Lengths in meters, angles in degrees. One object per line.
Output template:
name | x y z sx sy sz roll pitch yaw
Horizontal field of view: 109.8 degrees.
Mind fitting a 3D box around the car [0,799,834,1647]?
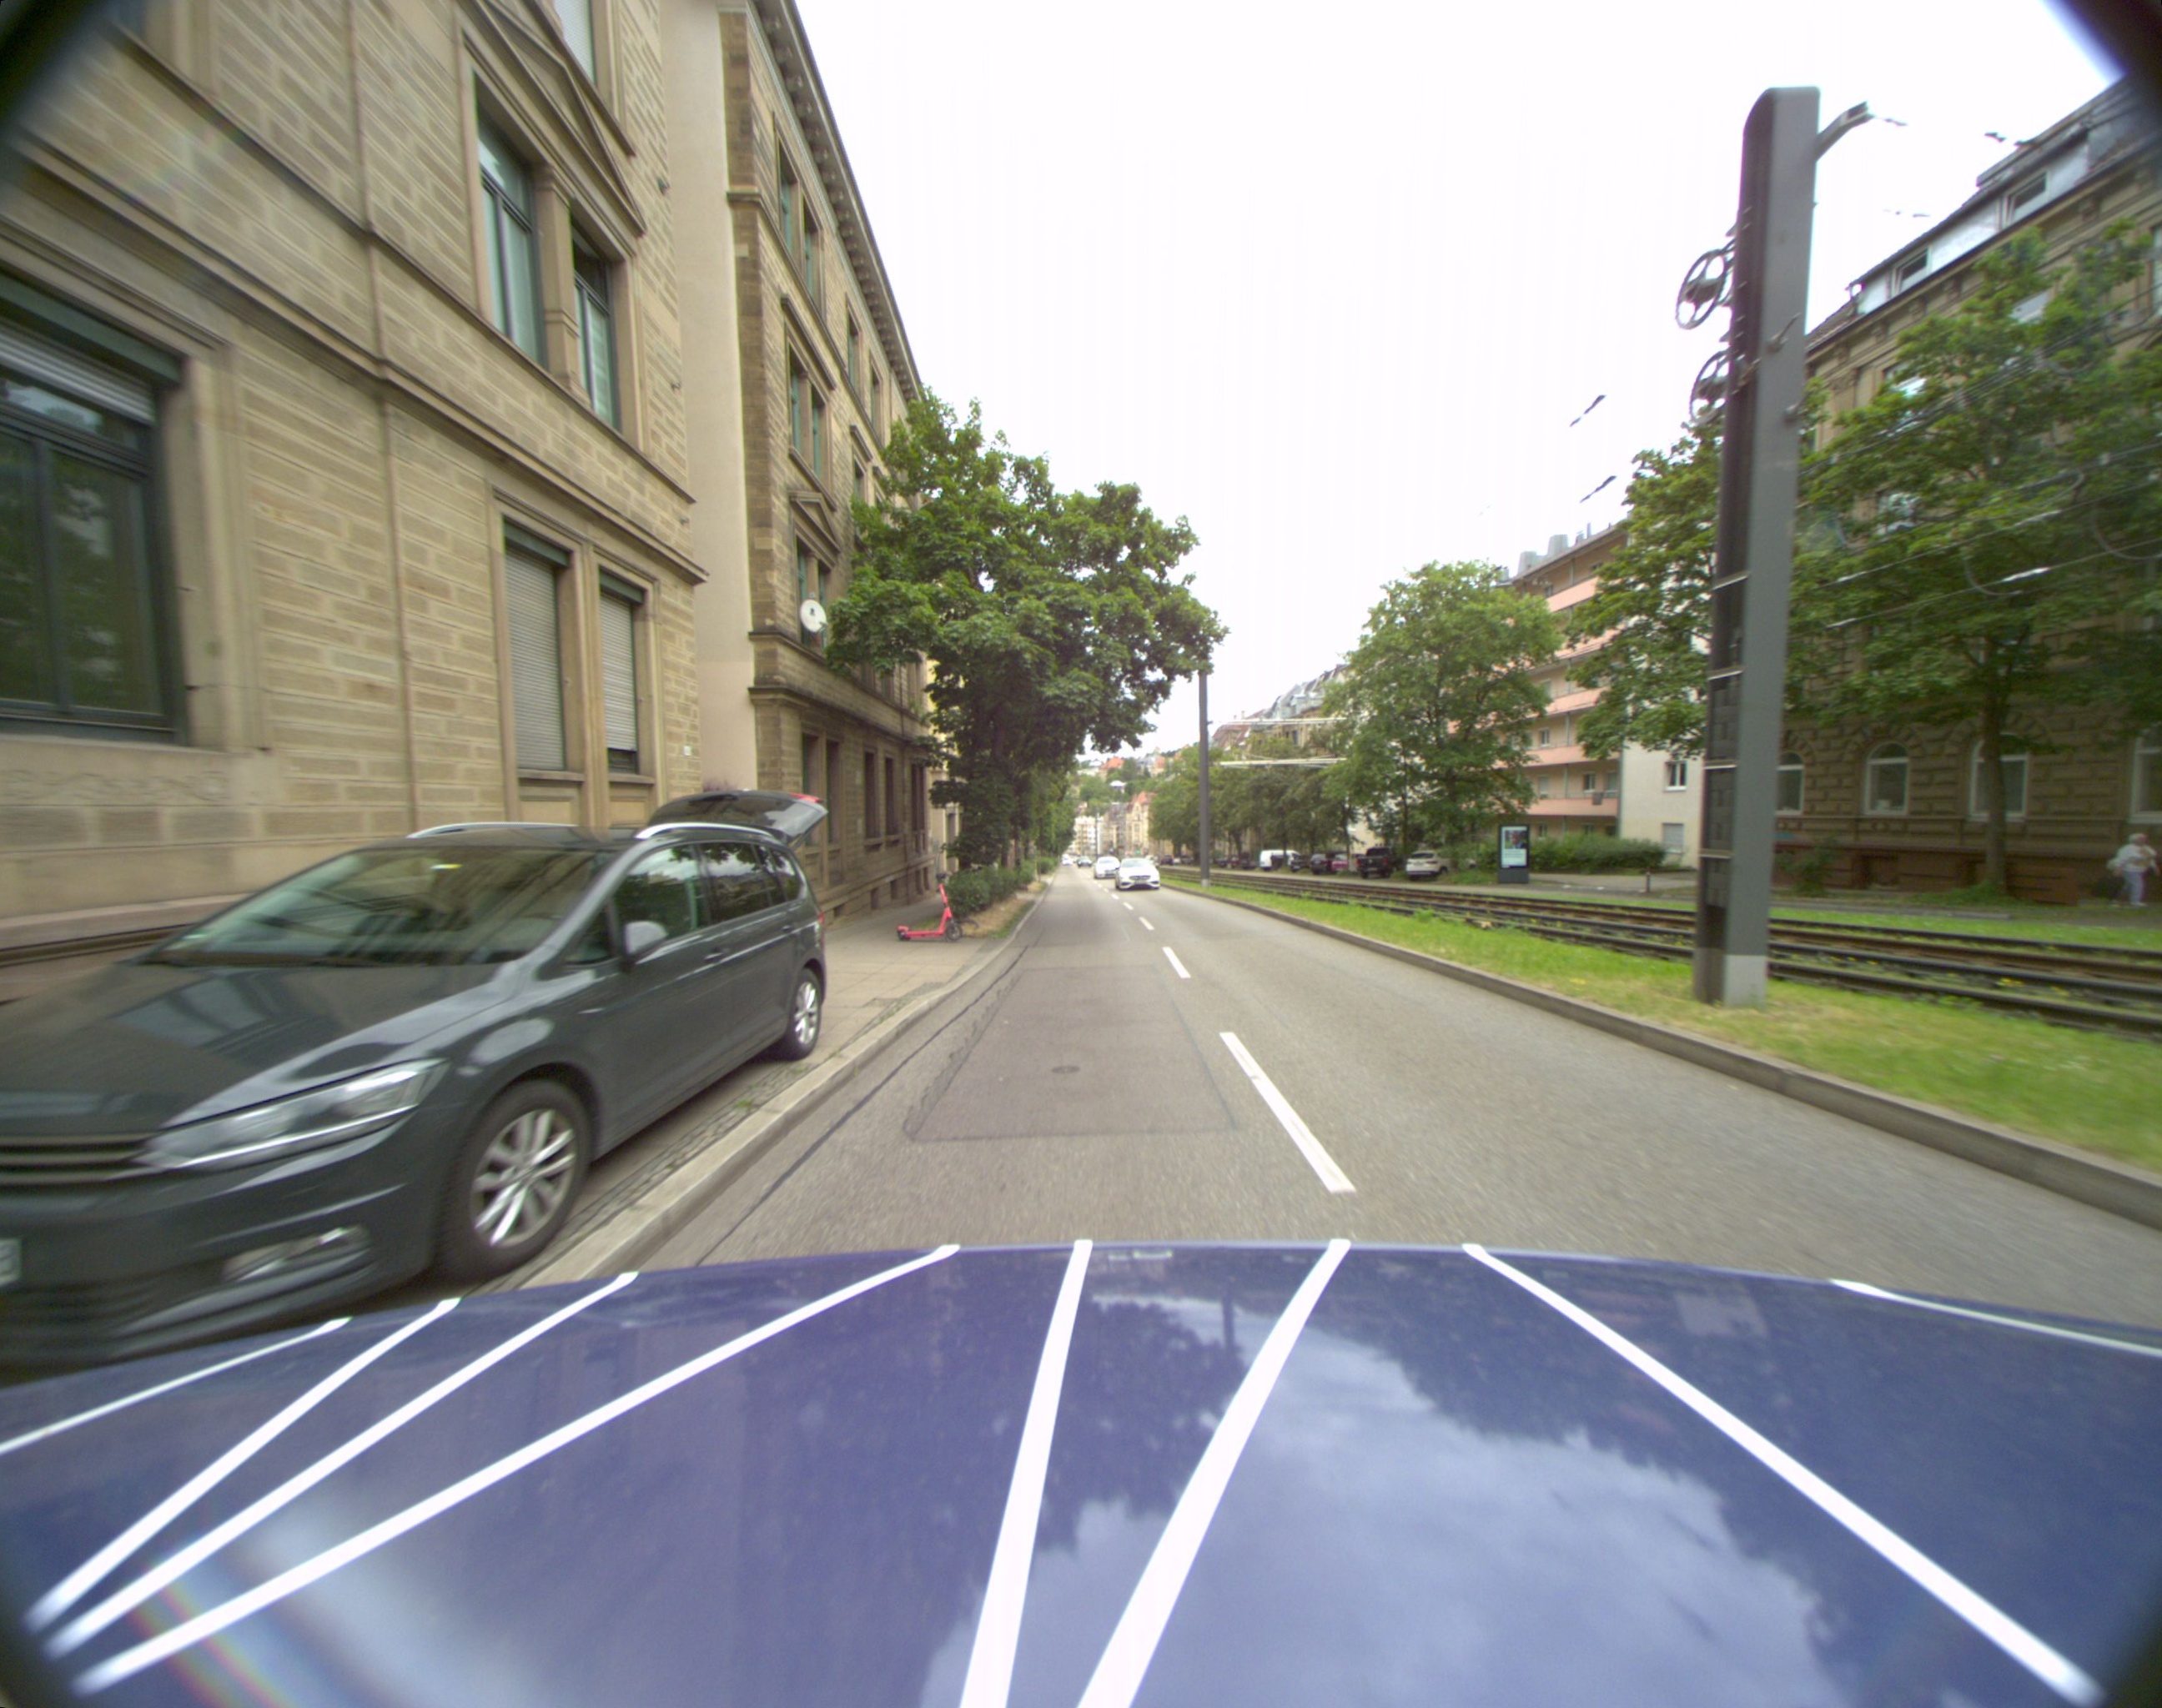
car | -2.849 0.742 3.676 1.862 1.701 4.308 0 0 0

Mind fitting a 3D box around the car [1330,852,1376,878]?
car | 18.634 0.707 51.987 1.779 1.678 3.866 -1 0 39

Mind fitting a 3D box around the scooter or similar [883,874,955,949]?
scooter or similar | -2.895 1.031 13.668 1.199 1.266 0.629 2 1 -10

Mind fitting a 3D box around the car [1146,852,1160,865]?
car | 11.976 0.762 127.162 1.998 2.002 4.000 -1 0 0

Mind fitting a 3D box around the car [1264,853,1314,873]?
car | 17.820 0.759 65.006 3.862 1.678 1.781 -1 0 -24

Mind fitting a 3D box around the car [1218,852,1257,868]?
car | 17.880 0.651 86.822 3.860 1.803 1.782 -1 0 -16

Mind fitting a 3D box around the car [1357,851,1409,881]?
car | 17.990 0.662 45.178 1.779 1.678 3.866 -1 0 39

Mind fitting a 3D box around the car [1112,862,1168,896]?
car | 2.604 1.086 34.610 1.999 1.390 4.229 -1 0 -3

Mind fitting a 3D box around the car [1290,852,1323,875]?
car | 17.791 0.719 59.963 1.780 1.678 3.864 -1 1 27

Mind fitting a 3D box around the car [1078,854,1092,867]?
car | 0.593 0.949 109.789 1.881 1.727 4.000 -1 0 0

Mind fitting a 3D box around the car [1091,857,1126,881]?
car | 1.895 1.019 53.049 1.999 1.479 4.229 -3 0 -3

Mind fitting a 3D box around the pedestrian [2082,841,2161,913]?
pedestrian | 22.287 0.480 16.290 0.690 1.504 0.740 -1 1 0

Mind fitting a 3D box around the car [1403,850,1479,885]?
car | 18.632 0.673 39.283 3.864 1.678 1.780 -2 1 -33

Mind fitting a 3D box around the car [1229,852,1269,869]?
car | 17.962 0.679 81.330 3.860 1.803 1.782 -1 0 -16

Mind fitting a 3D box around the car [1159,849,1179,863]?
car | 13.120 0.352 113.731 2.000 2.002 3.997 -1 0 -7

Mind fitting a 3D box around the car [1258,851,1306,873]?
car | 17.748 0.684 67.134 3.862 1.803 1.781 -1 0 -24

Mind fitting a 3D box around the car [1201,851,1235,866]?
car | 17.195 0.609 95.541 3.860 1.803 1.782 -1 0 -16

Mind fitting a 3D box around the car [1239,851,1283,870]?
car | 17.840 0.668 75.383 3.860 1.803 1.782 -1 0 -16

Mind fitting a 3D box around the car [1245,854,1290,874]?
car | 17.909 0.930 72.995 3.860 1.803 1.782 -1 0 -16

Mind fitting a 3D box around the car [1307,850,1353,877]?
car | 17.813 0.668 54.253 1.779 1.678 3.865 -1 2 40
